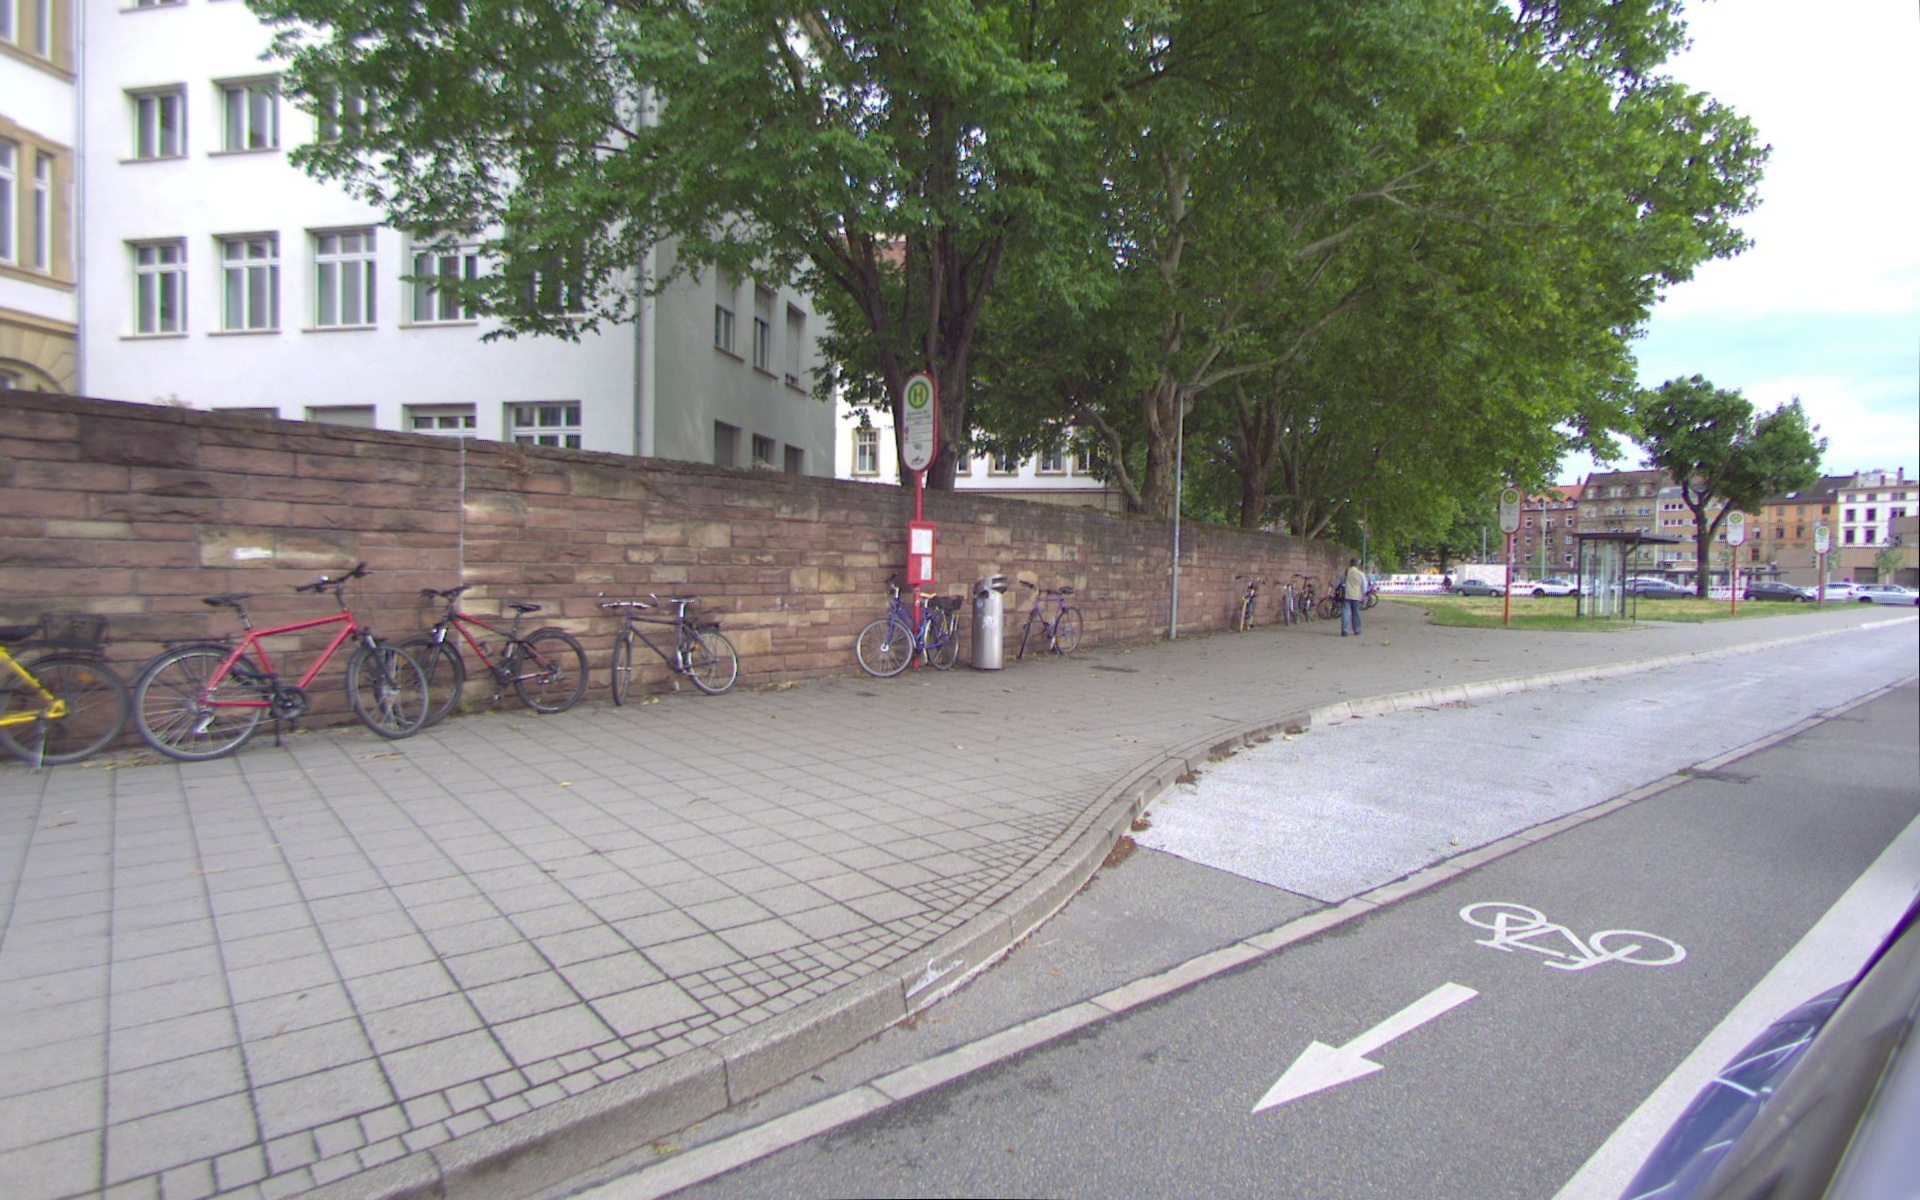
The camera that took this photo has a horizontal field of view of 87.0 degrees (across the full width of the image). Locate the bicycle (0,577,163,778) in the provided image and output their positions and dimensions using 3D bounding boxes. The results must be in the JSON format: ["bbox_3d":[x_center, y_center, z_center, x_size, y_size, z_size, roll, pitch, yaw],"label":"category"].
[{"bbox_3d":[-5.767,0.447,5.776,0.383,1.158,1.922,0,0,29],"label":"bicycle"}]

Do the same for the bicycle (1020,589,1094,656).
[{"bbox_3d":[1.419,0.300,14.638,0.290,0.896,1.590,2,2,36],"label":"bicycle"}]

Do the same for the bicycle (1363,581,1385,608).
[{"bbox_3d":[17.295,-0.247,42.263,0.686,1.098,1.639,2,2,26],"label":"bicycle"}]

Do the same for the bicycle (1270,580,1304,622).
[{"bbox_3d":[7.888,0.000,24.384,0.477,0.951,1.882,2,2,27],"label":"bicycle"}]

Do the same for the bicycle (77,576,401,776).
[{"bbox_3d":[-4.729,0.429,6.827,0.381,1.158,1.930,0,0,18],"label":"bicycle"}]

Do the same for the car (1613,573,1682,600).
[{"bbox_3d":[54.007,-1.075,79.530,4.272,2.039,1.968,0,1,45],"label":"car"}]

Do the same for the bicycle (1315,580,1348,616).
[{"bbox_3d":[10.681,-0.073,29.053,0.648,0.951,1.939,2,2,27],"label":"bicycle"}]

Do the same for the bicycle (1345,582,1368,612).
[{"bbox_3d":[13.151,-0.120,33.562,0.563,0.951,1.752,2,2,26],"label":"bicycle"}]

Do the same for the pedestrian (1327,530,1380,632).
[{"bbox_3d":[8.175,-0.411,21.022,0.778,2.037,0.879,4,4,32],"label":"pedestrian"}]

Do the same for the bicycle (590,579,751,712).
[{"bbox_3d":[-2.700,0.384,9.611,0.336,1.158,1.658,0,0,33],"label":"bicycle"}]

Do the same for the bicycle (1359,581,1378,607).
[{"bbox_3d":[15.560,-0.242,38.526,0.555,0.951,1.342,2,2,26],"label":"bicycle"}]

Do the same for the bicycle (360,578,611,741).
[{"bbox_3d":[-3.692,0.408,8.055,0.336,1.158,1.919,0,0,33],"label":"bicycle"}]

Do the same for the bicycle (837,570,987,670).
[{"bbox_3d":[-0.529,0.198,12.084,0.476,1.089,2.051,2,2,42],"label":"bicycle"}]

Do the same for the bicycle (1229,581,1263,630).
[{"bbox_3d":[5.993,0.100,21.155,0.361,0.951,1.626,2,2,27],"label":"bicycle"}]
